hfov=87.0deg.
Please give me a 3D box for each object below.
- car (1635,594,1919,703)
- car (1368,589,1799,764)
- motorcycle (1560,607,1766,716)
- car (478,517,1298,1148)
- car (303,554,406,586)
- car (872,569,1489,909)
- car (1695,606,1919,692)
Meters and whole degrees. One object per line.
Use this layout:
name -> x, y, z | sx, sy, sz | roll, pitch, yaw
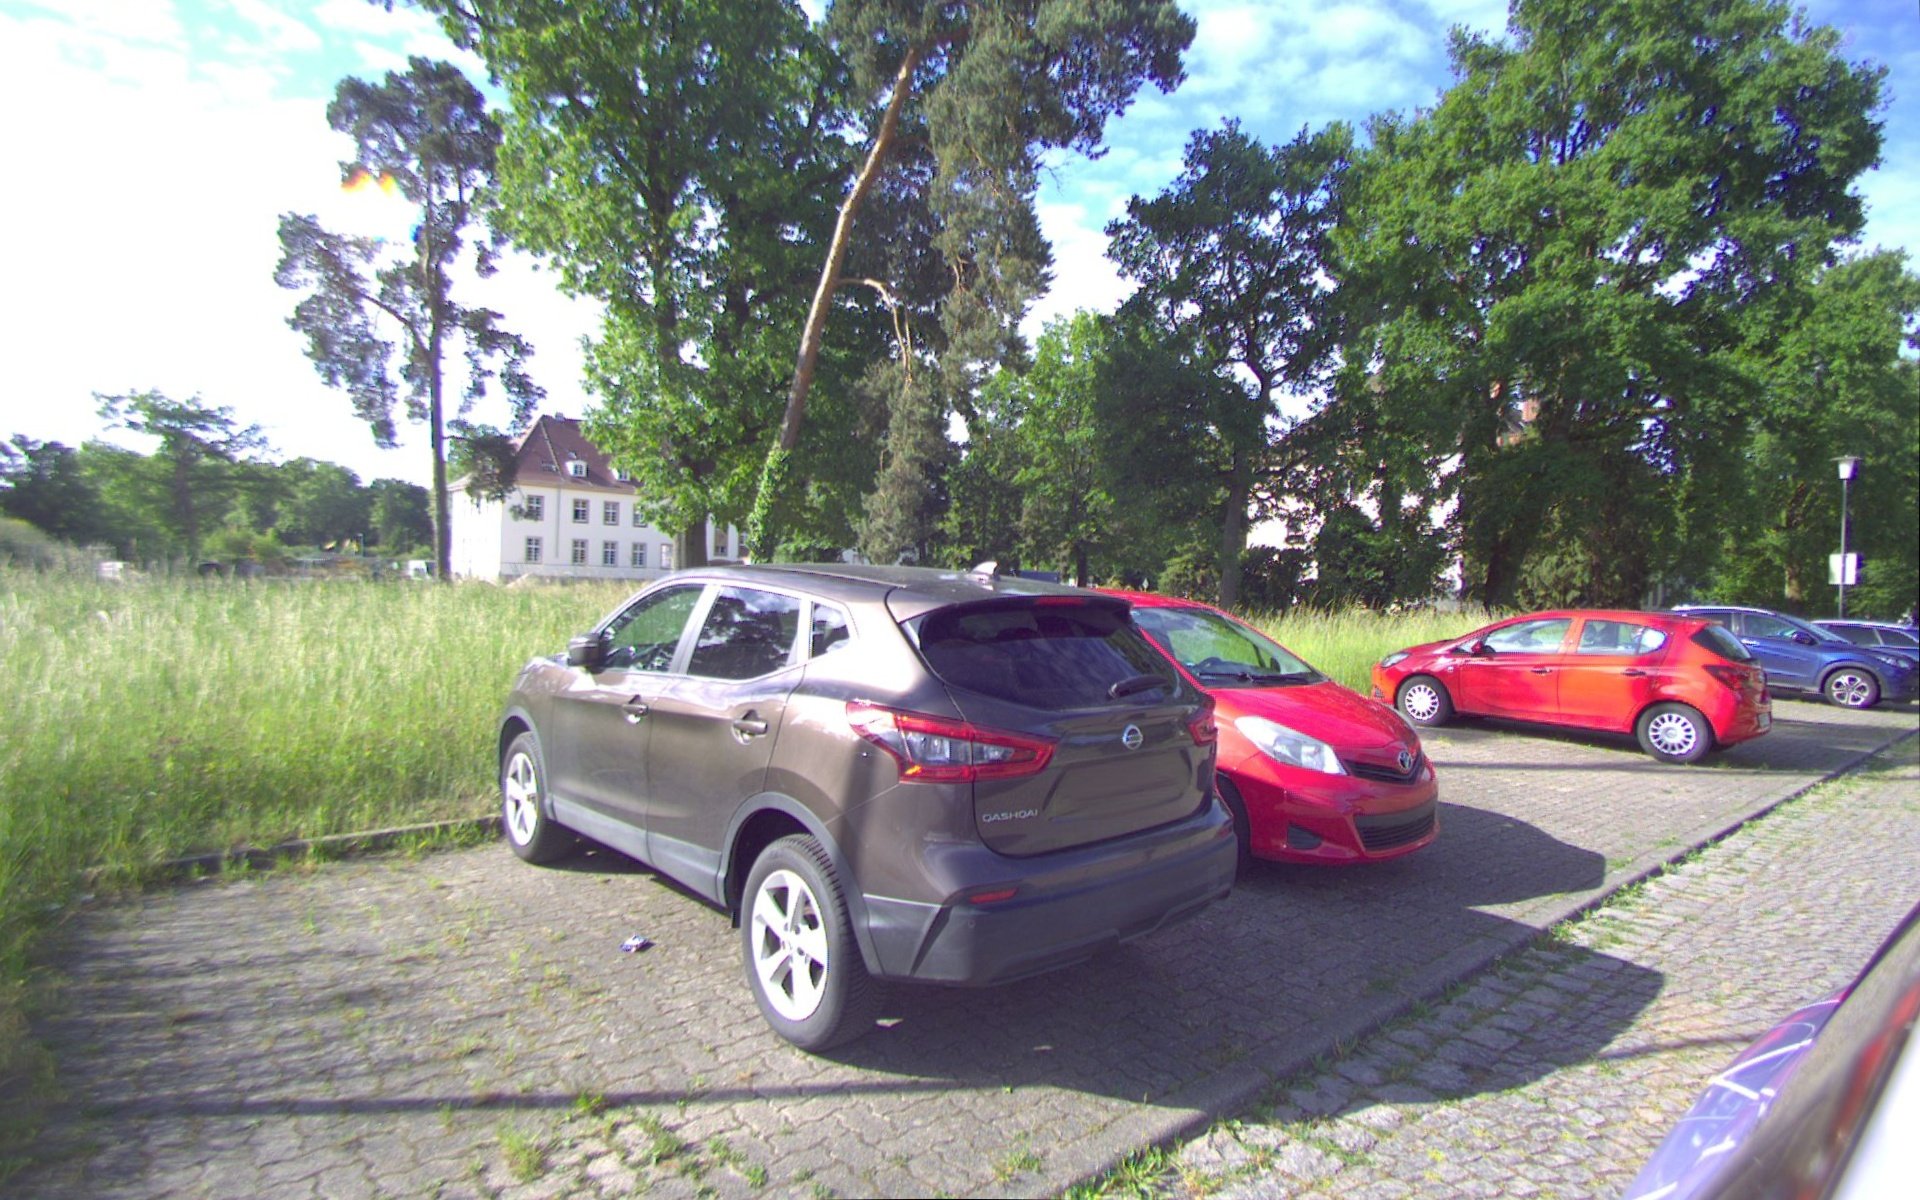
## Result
car -> 14.674, 0.781, 17.938 | 1.720, 1.611, 4.185 | 1, 1, -40
car -> 6.878, 0.713, 11.483 | 1.617, 1.497, 3.834 | 1, 2, -41
motorcycle -> 10.083, 0.828, 14.613 | 0.713, 1.336, 2.305 | 1, 2, -40
car -> -0.699, 0.550, 4.697 | 1.741, 1.642, 3.943 | 1, 1, -41
car -> -43.309, -2.106, 72.566 | 5.889, 2.198, 2.380 | 0, 1, -12
car -> 1.176, 0.615, 6.696 | 1.616, 1.549, 3.771 | 1, 1, -40
car -> 18.181, 0.975, 20.945 | 1.682, 1.425, 4.464 | 1, 2, -37
